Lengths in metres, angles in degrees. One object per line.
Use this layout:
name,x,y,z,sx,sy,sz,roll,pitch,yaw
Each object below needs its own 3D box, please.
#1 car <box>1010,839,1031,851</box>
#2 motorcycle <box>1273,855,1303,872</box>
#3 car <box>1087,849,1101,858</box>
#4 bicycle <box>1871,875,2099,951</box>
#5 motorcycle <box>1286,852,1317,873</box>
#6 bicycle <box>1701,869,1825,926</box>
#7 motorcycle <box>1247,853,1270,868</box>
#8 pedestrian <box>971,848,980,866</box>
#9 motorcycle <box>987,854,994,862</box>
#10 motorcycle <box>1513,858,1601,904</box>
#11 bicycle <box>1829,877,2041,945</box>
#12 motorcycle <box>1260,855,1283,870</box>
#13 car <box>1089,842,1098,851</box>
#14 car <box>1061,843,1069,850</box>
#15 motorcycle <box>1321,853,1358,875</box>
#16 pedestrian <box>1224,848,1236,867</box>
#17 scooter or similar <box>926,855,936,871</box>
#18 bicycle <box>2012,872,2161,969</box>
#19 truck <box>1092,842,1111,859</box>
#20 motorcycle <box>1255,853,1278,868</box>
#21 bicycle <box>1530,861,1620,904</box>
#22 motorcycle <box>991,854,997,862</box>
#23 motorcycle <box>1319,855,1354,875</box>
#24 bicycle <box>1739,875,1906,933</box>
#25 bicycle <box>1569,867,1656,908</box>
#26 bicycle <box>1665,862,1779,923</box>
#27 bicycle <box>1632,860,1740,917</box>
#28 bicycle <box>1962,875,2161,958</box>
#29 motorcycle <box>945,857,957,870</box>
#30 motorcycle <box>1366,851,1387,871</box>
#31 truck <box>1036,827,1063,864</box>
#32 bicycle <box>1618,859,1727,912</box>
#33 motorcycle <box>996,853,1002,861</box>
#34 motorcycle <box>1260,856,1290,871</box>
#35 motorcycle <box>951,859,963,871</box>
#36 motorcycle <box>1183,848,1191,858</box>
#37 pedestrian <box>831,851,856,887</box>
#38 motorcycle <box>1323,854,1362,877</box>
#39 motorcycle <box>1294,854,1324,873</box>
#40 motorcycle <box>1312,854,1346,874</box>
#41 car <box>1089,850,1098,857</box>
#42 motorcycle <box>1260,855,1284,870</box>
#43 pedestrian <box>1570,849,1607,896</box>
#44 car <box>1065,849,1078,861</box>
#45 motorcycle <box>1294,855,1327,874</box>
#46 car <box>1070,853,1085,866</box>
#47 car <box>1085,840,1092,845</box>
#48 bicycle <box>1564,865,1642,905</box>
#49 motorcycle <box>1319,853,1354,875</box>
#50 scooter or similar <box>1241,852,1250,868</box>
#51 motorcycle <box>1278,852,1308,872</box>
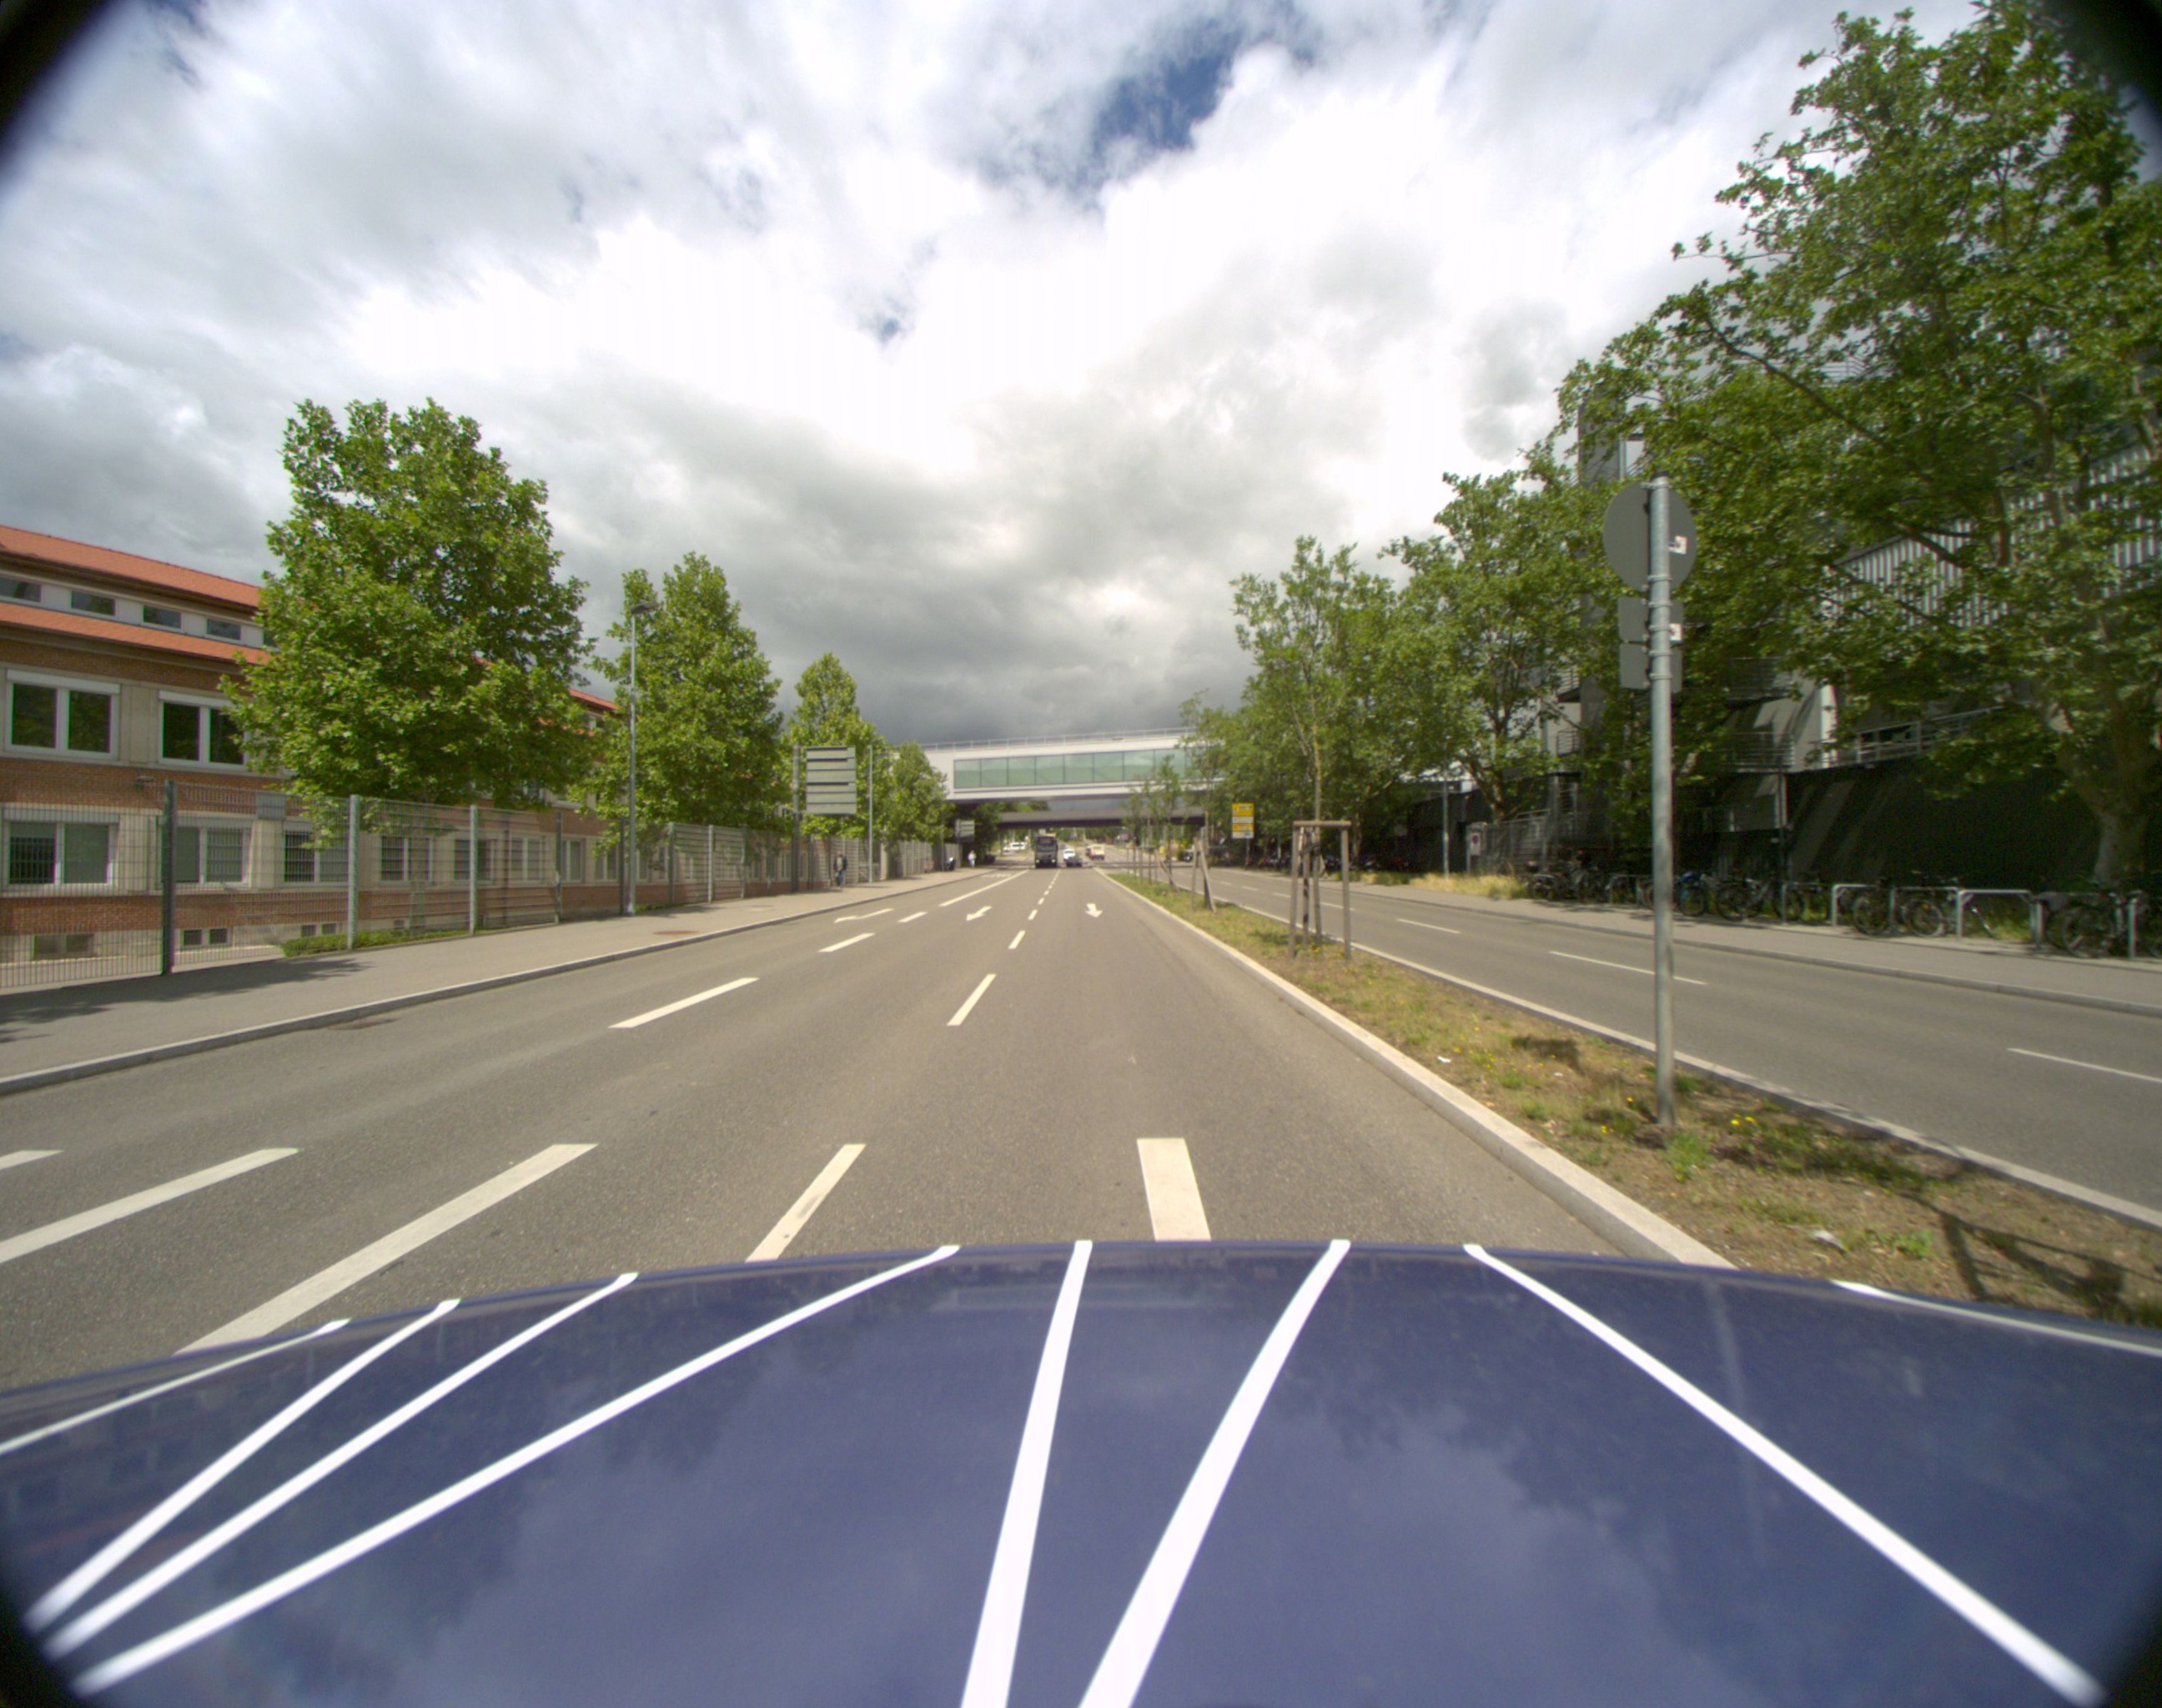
car,-15.664,-2.383,196.677,5.201,3.019,2.080,-1,1,6
motorcycle,15.214,0.686,55.740,1.933,1.109,0.923,-3,-1,27
car,2.277,-0.094,132.926,1.910,1.621,4.291,-1,0,-4
bicycle,14.612,0.948,12.345,2.569,1.151,0.644,-1,1,10
motorcycle,15.074,0.590,51.871,1.934,1.336,0.866,-3,-1,20
bicycle,14.385,0.907,16.057,1.923,1.116,0.806,-1,1,-2
motorcycle,14.989,0.521,64.263,1.745,1.164,0.777,-3,-1,8
pedestrian,-11.075,0.294,80.013,0.791,1.877,1.097,0,1,-1
motorcycle,-12.197,0.524,101.978,0.679,1.148,2.112,0,1,0
motorcycle,14.262,0.807,22.792,2.139,1.301,0.806,-1,1,-2
bicycle,14.745,0.962,13.191,2.569,1.089,0.696,0,1,10
motorcycle,15.256,0.660,60.992,1.595,1.116,0.776,-3,-1,1
car,2.626,-1.630,161.117,1.813,1.770,4.977,-1,1,-1
car,-4.586,-2.043,218.325,1.999,2.002,3.999,-1,0,-1
motorcycle,15.090,0.604,44.361,1.881,1.179,0.730,-3,0,8
pedestrian,13.002,0.316,66.465,0.769,1.603,0.813,-3,1,-1
scooter or similar,-12.189,0.742,61.777,0.492,1.287,1.336,0,1,-1
bicycle,14.359,0.891,10.424,2.410,1.250,0.556,-1,1,2
truck,3.253,-0.537,121.281,2.486,2.735,6.456,-1,0,-3
motorcycle,15.220,0.527,62.325,1.596,1.116,0.775,-3,-1,-9
bicycle,14.436,0.829,22.233,2.139,1.173,0.806,-1,1,-2
motorcycle,-12.078,0.513,105.588,0.679,1.076,2.037,0,1,-2
motorcycle,15.362,0.661,45.682,1.880,1.078,0.795,-3,-1,15
bicycle,14.774,0.975,15.152,2.844,1.000,0.850,-1,1,-9
bicycle,14.694,0.914,21.019,2.086,1.056,0.497,-1,1,-2
bicycle,14.377,0.839,17.072,1.923,1.275,0.806,-1,1,-2
bicycle,14.343,0.807,18.042,1.923,1.275,0.806,-1,1,-2
bicycle,14.997,0.923,11.314,2.569,1.151,0.726,-1,1,10
motorcycle,-11.819,0.839,68.977,0.670,1.058,2.246,2,1,-1
motorcycle,18.807,0.434,48.352,0.654,1.202,1.984,-3,-1,4
truck,-3.559,-0.907,88.476,2.787,3.981,10.085,-1,0,-1
bicycle,14.906,0.779,19.180,2.139,1.275,0.806,-1,1,-2
motorcycle,-11.723,0.431,108.152,0.679,1.076,2.180,0,1,-2
motorcycle,14.684,0.726,57.457,1.939,1.109,0.920,1,1,-12
motorcycle,-11.769,1.033,72.111,0.709,1.058,2.510,2,1,-1
motorcycle,12.803,-0.108,91.750,0.641,1.191,2.257,-3,1,-1
pedestrian,-11.436,0.710,36.549,0.879,1.733,0.940,1,1,-1
motorcycle,14.600,0.652,42.464,1.881,1.166,0.746,-3,-1,9
motorcycle,15.133,0.634,50.463,1.880,1.172,0.816,-3,-1,15
motorcycle,15.656,0.634,47.921,1.882,1.172,0.698,-3,-1,3
car,2.509,-0.131,150.237,1.713,1.445,4.479,-1,0,0
motorcycle,14.978,0.667,59.619,1.595,1.027,0.776,-3,-1,1
pedestrian,17.049,0.606,25.536,0.755,1.543,0.821,-1,1,10
car,-1.458,0.156,115.129,1.929,1.728,3.999,-1,0,-1
motorcycle,14.844,0.684,49.210,1.881,1.172,0.815,-3,-1,9
car,-0.438,0.641,87.650,1.675,1.390,3.999,-1,0,-1
car,2.034,-3.076,207.120,1.998,1.346,4.000,0,1,1
bicycle,14.746,0.878,21.488,1.929,1.068,0.422,-1,1,-2
motorcycle,15.685,0.617,46.695,1.882,1.202,0.655,-3,-1,3
scooter or similar,13.131,0.453,60.548,0.355,1.229,1.479,-2,2,-1
motorcycle,15.173,0.578,54.269,1.934,1.283,0.894,-3,-1,20
